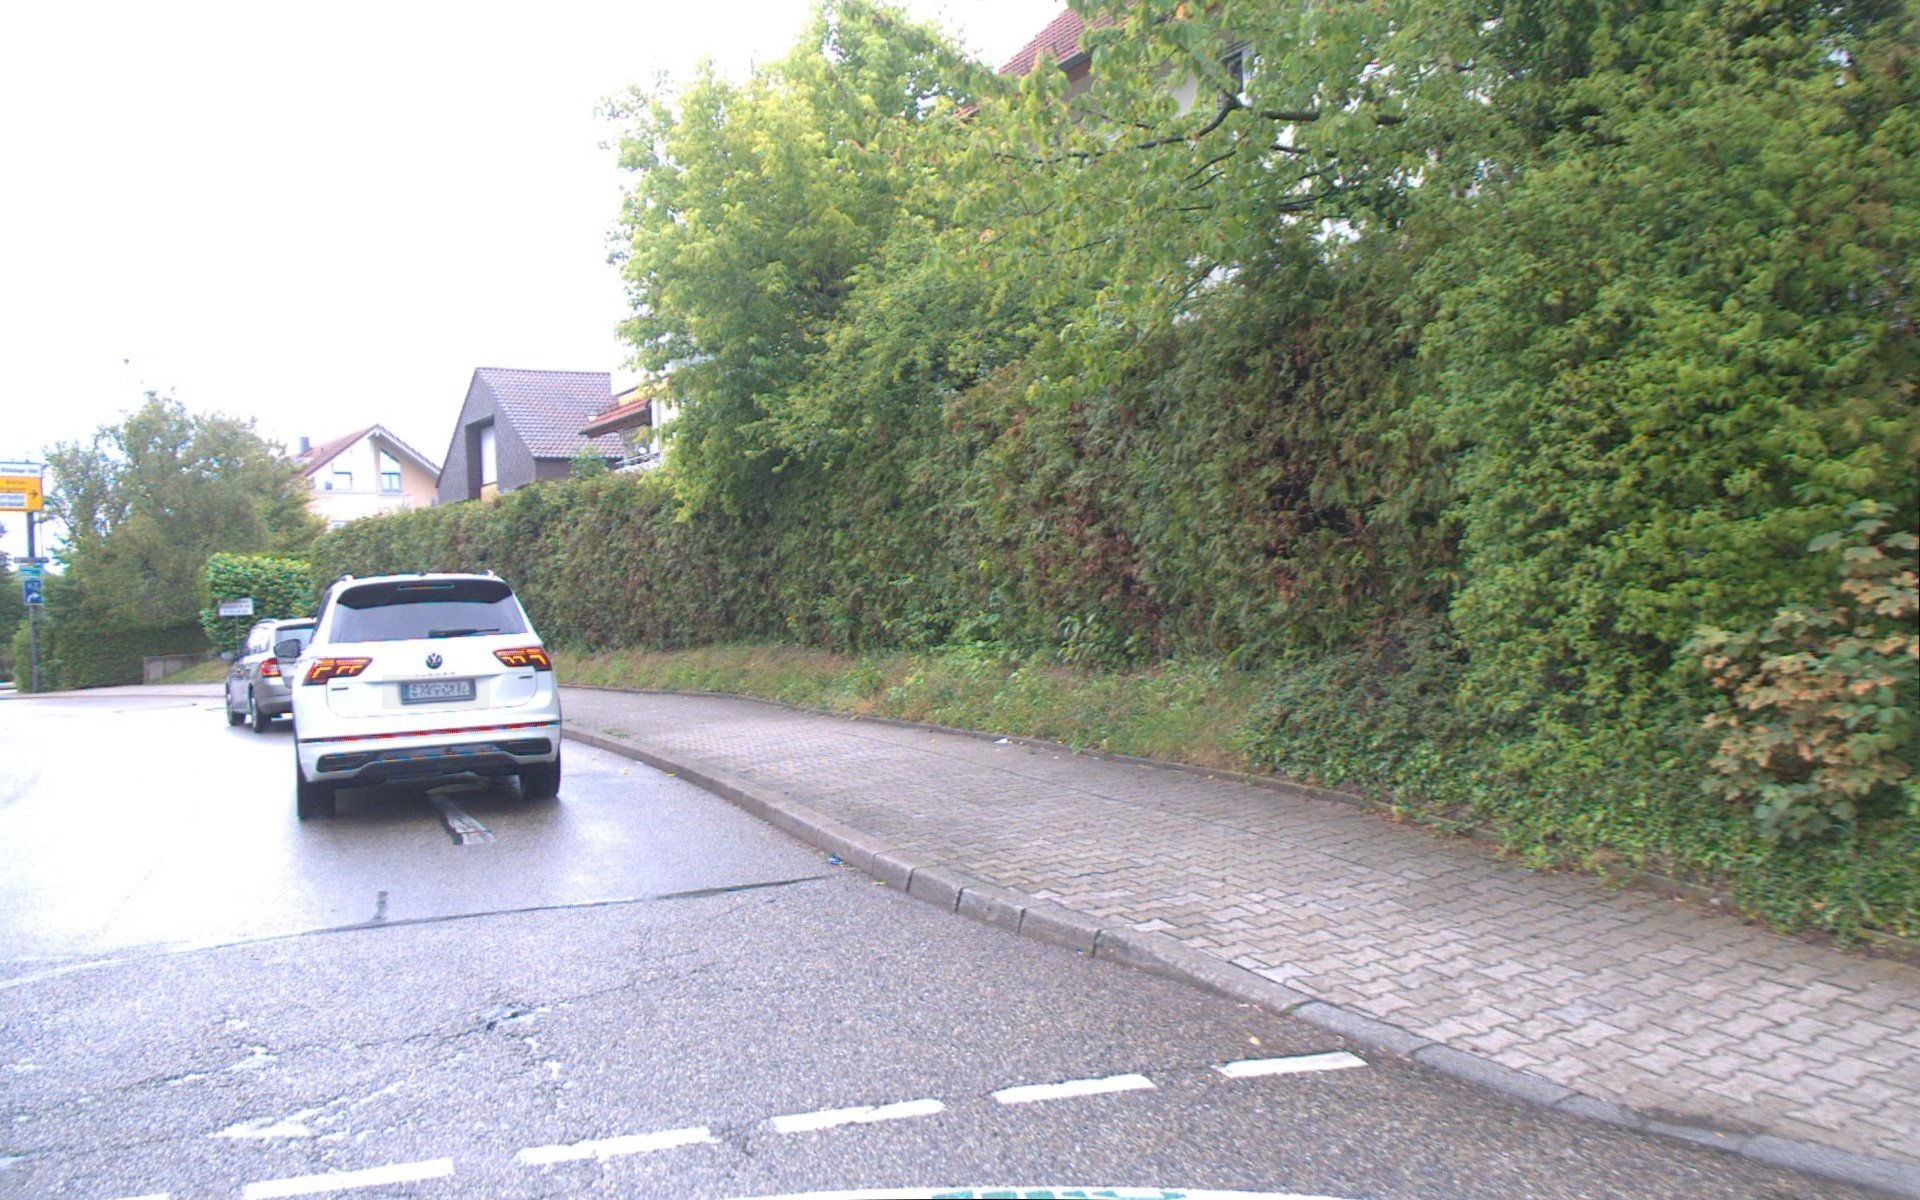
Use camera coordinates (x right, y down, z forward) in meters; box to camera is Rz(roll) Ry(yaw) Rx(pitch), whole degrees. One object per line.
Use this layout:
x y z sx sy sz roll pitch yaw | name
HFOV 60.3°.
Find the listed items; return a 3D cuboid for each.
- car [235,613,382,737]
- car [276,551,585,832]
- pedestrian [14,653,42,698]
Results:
-9.113 0.985 23.196 1.740 1.536 3.974 1 0 -22 | car
-4.208 0.613 12.848 1.894 1.752 4.237 -2 -1 -21 | car
-44.058 3.568 78.201 0.831 2.049 0.800 -1 0 30 | pedestrian
